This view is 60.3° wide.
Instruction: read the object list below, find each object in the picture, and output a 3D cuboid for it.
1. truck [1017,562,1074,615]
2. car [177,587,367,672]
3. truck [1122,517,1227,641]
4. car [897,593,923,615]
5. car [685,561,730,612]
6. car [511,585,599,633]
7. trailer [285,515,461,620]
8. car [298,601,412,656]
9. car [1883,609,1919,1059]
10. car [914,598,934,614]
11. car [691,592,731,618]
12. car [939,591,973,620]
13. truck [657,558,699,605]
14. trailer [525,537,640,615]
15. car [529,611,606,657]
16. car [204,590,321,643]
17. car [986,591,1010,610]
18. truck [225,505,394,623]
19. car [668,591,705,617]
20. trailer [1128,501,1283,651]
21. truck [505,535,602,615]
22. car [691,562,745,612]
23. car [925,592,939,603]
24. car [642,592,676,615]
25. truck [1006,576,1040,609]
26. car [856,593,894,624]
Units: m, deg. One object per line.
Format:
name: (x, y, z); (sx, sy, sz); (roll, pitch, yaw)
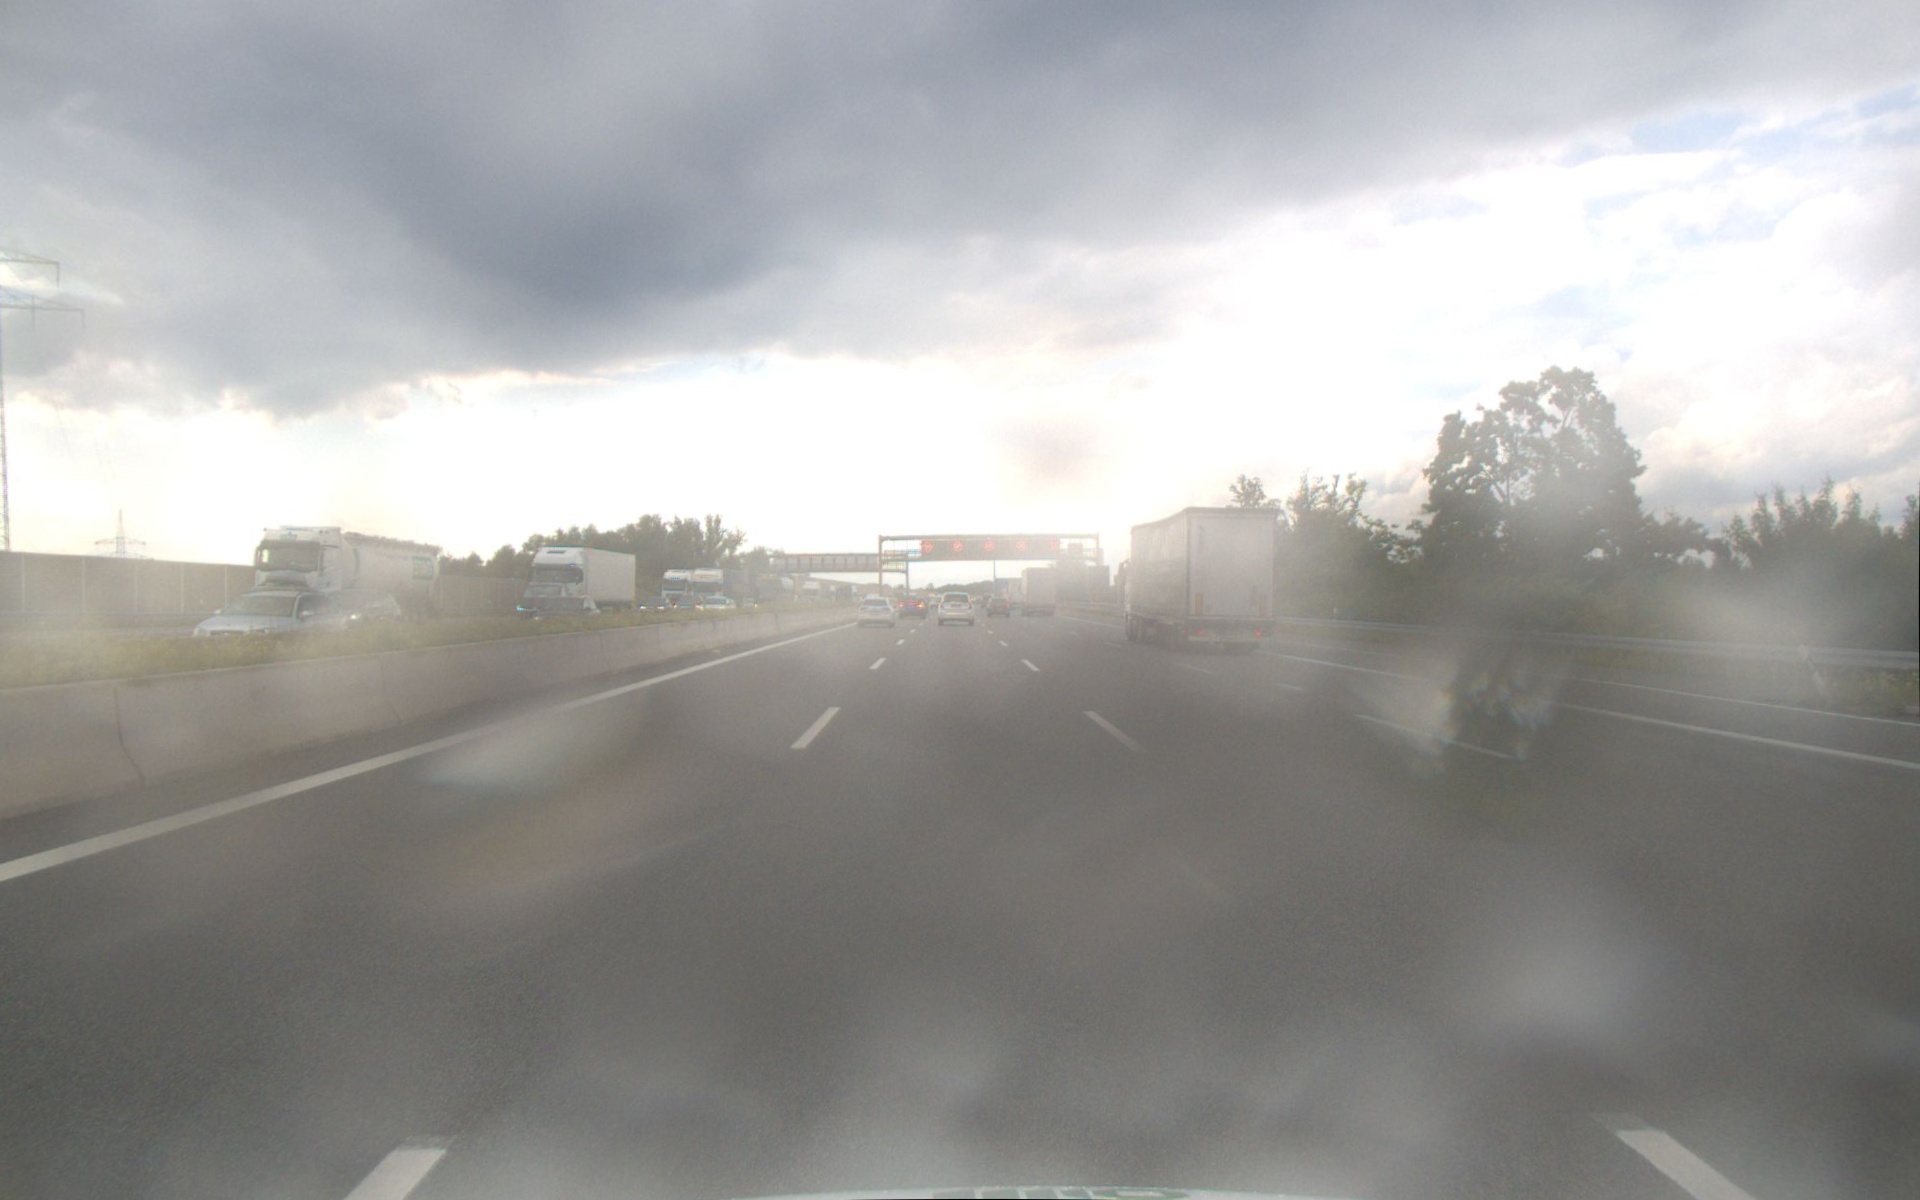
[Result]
truck: (7.383, -0.979, 145.112); (4.095, 4.363, 12.610); (1, 0, -1)
car: (-13.545, 0.542, 32.897); (1.953, 1.553, 4.738); (1, 0, -3)
truck: (7.500, -0.723, 58.582); (2.900, 4.090, 6.589); (1, 0, 1)
car: (-3.440, 0.276, 114.488); (1.736, 1.466, 4.054); (1, 0, -2)
car: (-21.777, -1.144, 142.876); (2.922, 4.222, 6.041); (1, 0, -1)
car: (-17.781, 0.384, 72.905); (2.233, 2.002, 6.087); (1, 0, 1)
trailer: (-26.224, -1.351, 74.848); (3.586, 4.311, 12.465); (1, 0, -1)
car: (-17.703, 0.799, 48.616); (1.751, 1.479, 4.563); (1, 0, -2)
car: (3.887, 0.776, 4.053); (1.417, 1.466, 3.163); (1, 0, -2)
car: (-3.379, 0.546, 154.260); (1.737, 1.466, 4.054); (1, 0, -2)
car: (-14.662, 0.280, 97.700); (1.751, 1.479, 4.563); (1, 0, -2)
car: (-0.247, 0.284, 88.945); (1.736, 1.466, 4.054); (1, 0, -2)
truck: (-26.282, -1.670, 154.374); (2.841, 4.188, 6.621); (1, 0, -1)
trailer: (-21.966, -1.315, 97.374); (3.585, 4.180, 13.398); (1, 0, 0)
car: (-13.839, 1.179, 58.545); (1.751, 1.479, 4.563); (1, 0, -2)
car: (-21.370, 0.484, 50.877); (1.751, 1.494, 4.563); (1, 0, -2)
car: (3.020, 0.034, 132.439); (1.798, 1.466, 4.055); (1, 0, 0)
truck: (-26.107, -1.369, 66.936); (3.586, 4.394, 8.236); (1, 0, -1)
car: (-17.637, 0.262, 106.762); (1.751, 1.589, 4.563); (1, 0, -2)
trailer: (7.429, -0.696, 52.304); (2.900, 4.090, 14.119); (1, 0, 1)
truck: (-21.993, -1.302, 89.870); (3.585, 4.118, 6.524); (1, 0, 0)
car: (-21.836, -1.119, 149.971); (2.922, 4.196, 14.392); (1, 0, -1)
car: (-3.774, -0.329, 222.186); (1.736, 1.466, 4.055); (1, 0, 0)
car: (-21.967, 0.276, 120.770); (1.751, 1.619, 4.384); (1, 0, -1)
truck: (8.449, -0.957, 224.460); (4.157, 4.249, 11.989); (1, 0, 0)
car: (-4.166, 0.418, 81.157); (1.736, 1.466, 3.873); (1, 0, -1)
